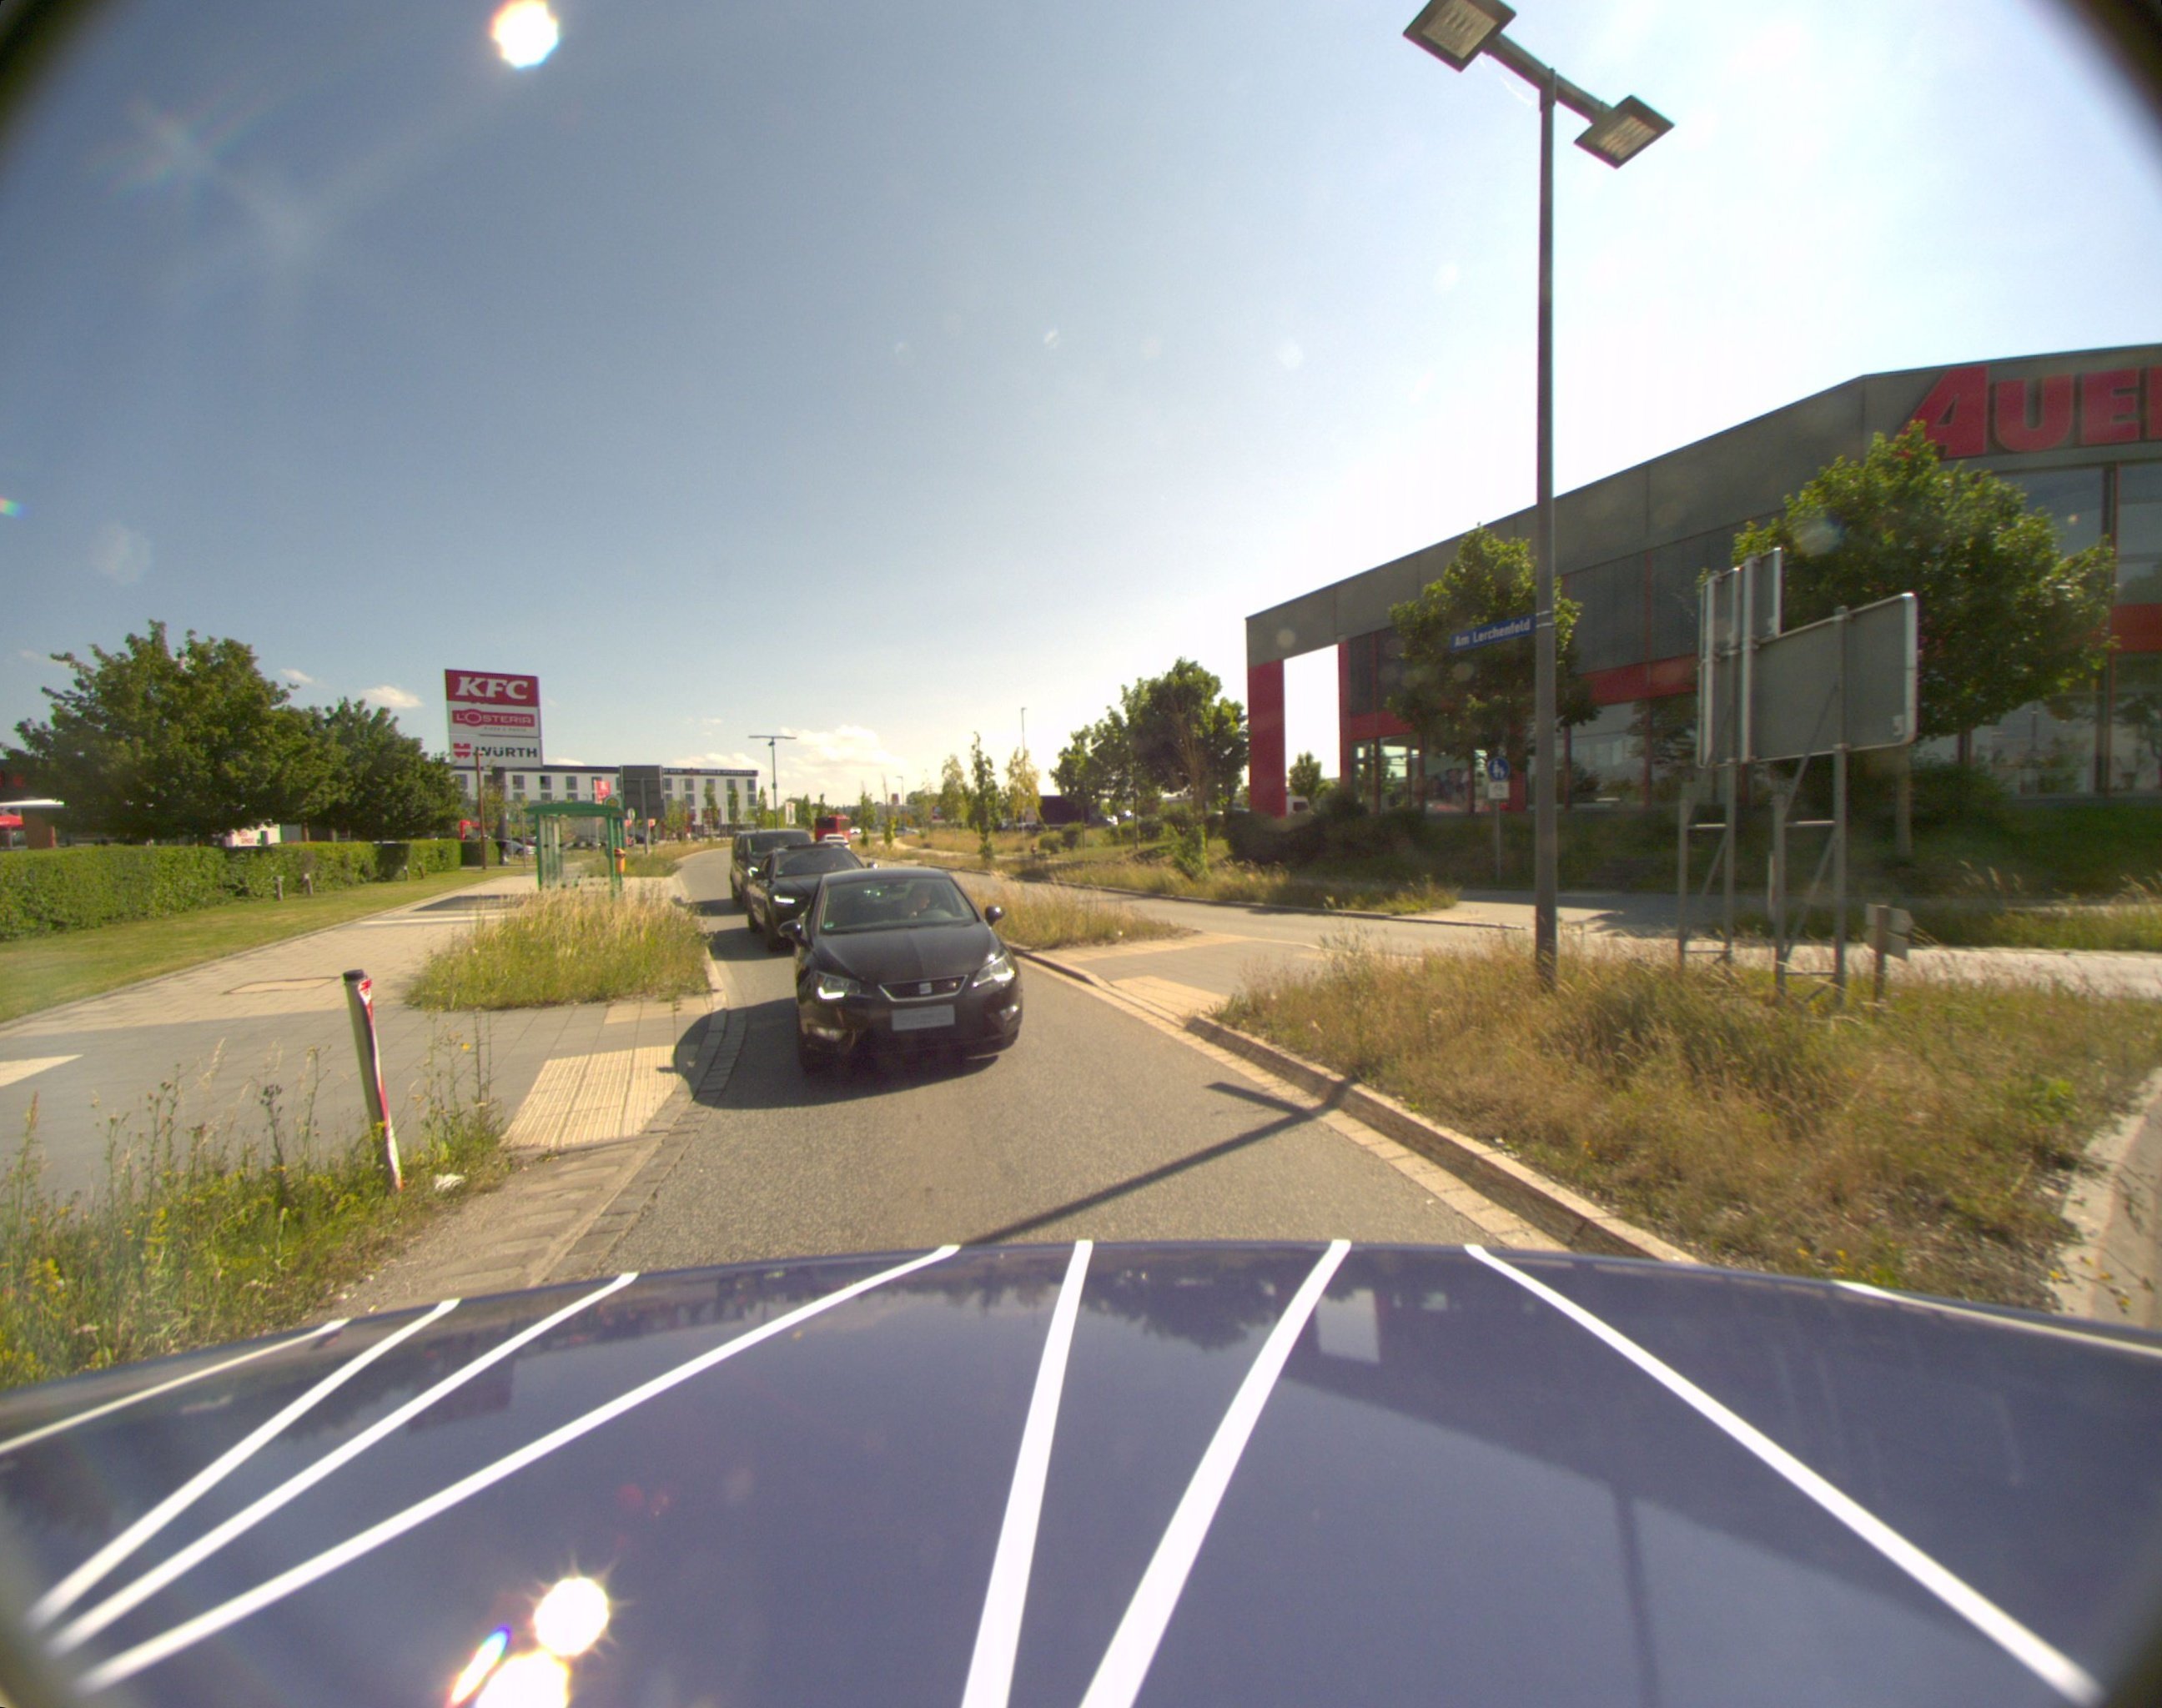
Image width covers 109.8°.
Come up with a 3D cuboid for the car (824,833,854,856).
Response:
[{"bbox_3d":[-16.579,-0.673,51.903,1.799,1.408,4.373,-2,2,-19],"label":"car"}]

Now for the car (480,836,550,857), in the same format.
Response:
[{"bbox_3d":[-49.152,-0.688,66.060,4.447,1.644,1.929,-3,3,-22],"label":"car"}]

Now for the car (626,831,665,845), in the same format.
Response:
[{"bbox_3d":[-54.353,-2.028,94.844,3.827,1.611,1.754,-2,3,-15],"label":"car"}]

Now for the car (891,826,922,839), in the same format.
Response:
[{"bbox_3d":[-23.889,-2.992,104.103,3.944,1.667,1.618,-1,2,-2],"label":"car"}]

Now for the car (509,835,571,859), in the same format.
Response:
[{"bbox_3d":[-50.216,-0.669,70.603,4.188,2.003,1.930,-2,3,-13],"label":"car"}]

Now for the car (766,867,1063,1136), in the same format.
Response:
[{"bbox_3d":[-1.733,0.943,6.826,1.865,1.460,3.992,-2,1,-21],"label":"car"}]

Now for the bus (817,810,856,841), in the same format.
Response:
[{"bbox_3d":[-27.856,-3.195,87.126,2.618,3.223,11.866,-2,2,-10],"label":"bus"}]

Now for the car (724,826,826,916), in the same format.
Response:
[{"bbox_3d":[-8.494,0.326,20.815,2.083,2.038,4.671,-6,4,-26],"label":"car"}]

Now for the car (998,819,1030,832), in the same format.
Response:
[{"bbox_3d":[-9.289,-4.002,105.639,4.281,1.667,1.618,-2,2,-4],"label":"car"}]

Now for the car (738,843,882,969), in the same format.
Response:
[{"bbox_3d":[-4.967,0.757,13.572,1.865,1.680,3.990,-6,4,-26],"label":"car"}]
